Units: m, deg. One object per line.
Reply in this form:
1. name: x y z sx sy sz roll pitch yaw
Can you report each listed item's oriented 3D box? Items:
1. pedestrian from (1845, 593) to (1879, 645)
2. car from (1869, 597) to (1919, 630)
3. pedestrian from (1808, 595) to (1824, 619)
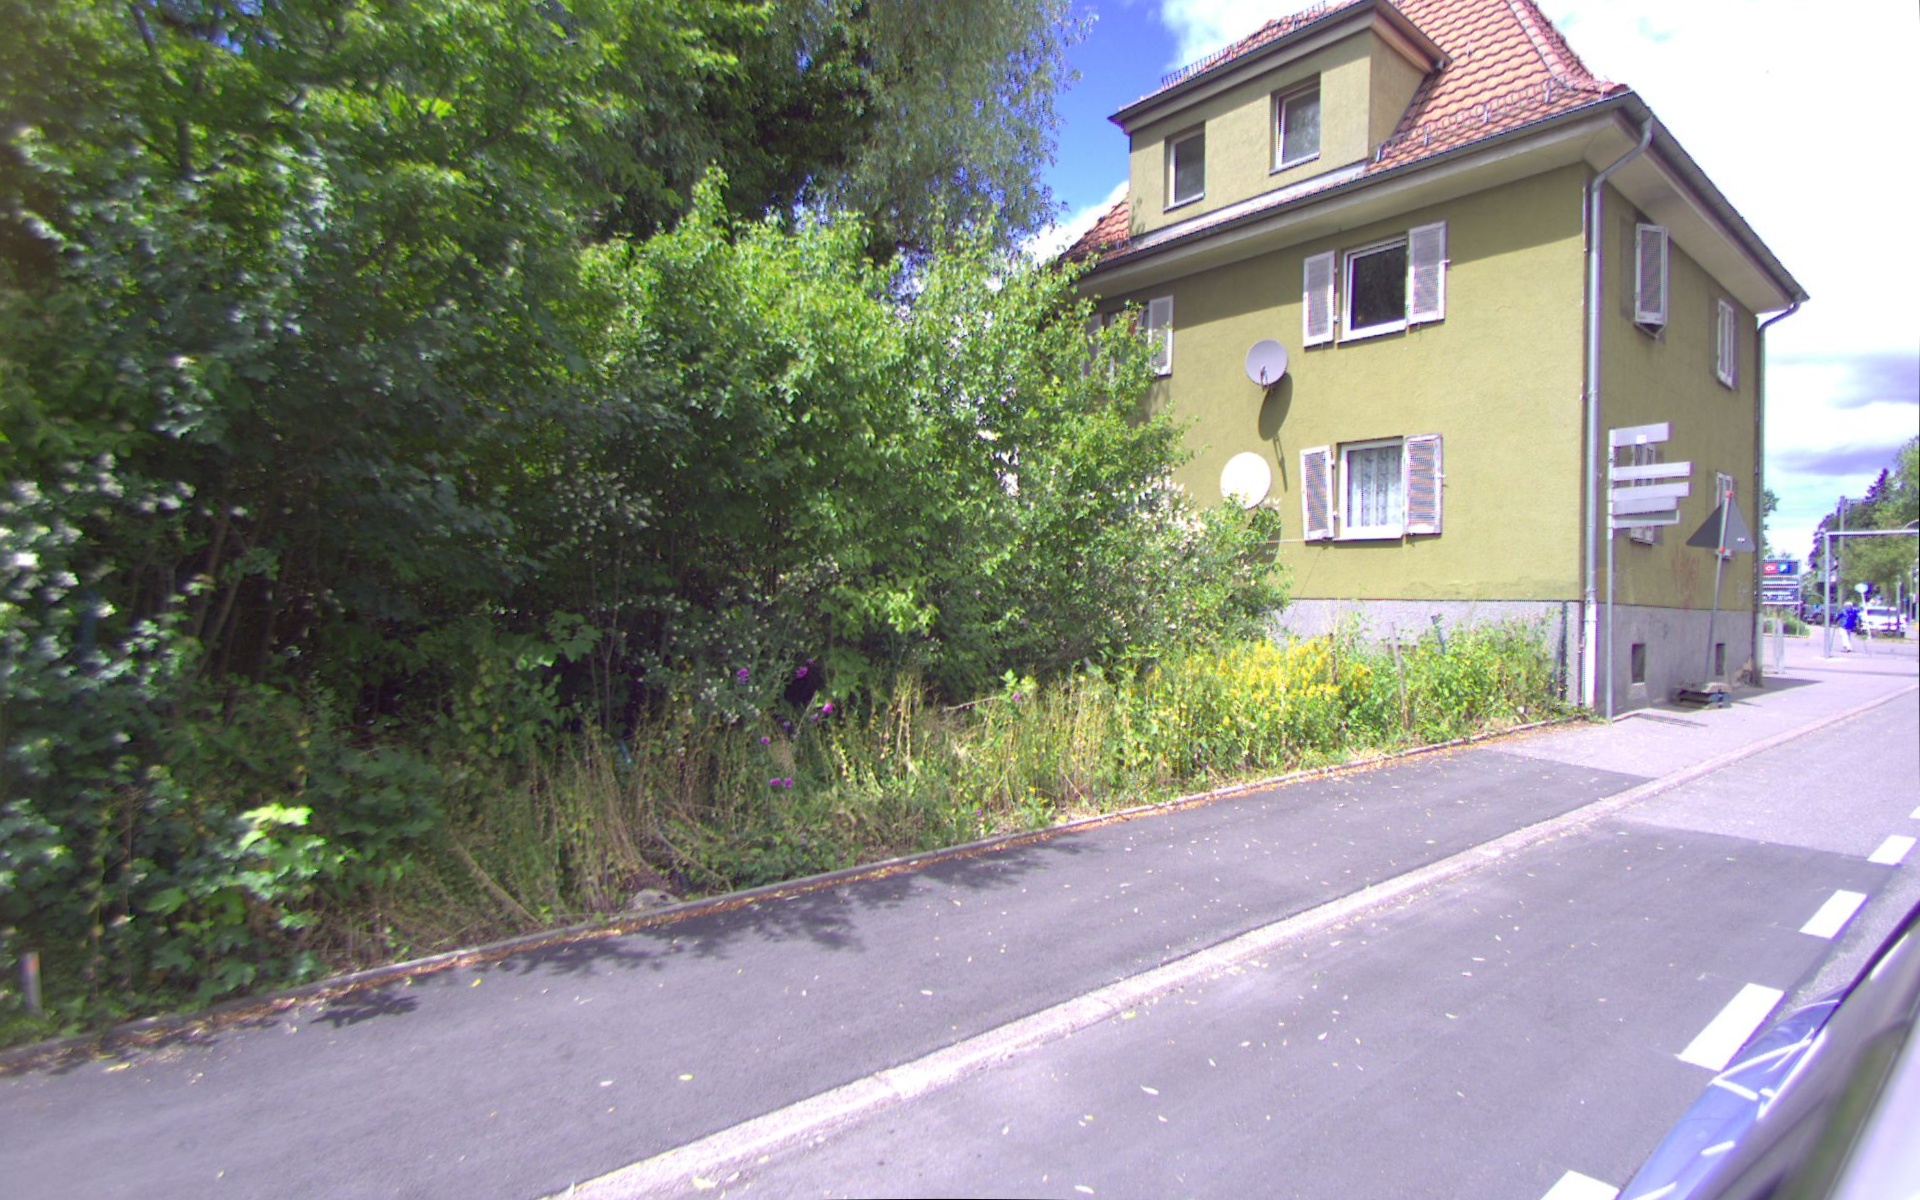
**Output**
1. pedestrian: 27.964 0.573 31.380 0.726 1.572 1.042 1 0 39
2. car: 47.571 0.664 51.316 3.931 1.529 1.797 0 2 -42
3. pedestrian: 60.044 0.512 70.995 0.765 1.683 0.721 1 -3 -45
